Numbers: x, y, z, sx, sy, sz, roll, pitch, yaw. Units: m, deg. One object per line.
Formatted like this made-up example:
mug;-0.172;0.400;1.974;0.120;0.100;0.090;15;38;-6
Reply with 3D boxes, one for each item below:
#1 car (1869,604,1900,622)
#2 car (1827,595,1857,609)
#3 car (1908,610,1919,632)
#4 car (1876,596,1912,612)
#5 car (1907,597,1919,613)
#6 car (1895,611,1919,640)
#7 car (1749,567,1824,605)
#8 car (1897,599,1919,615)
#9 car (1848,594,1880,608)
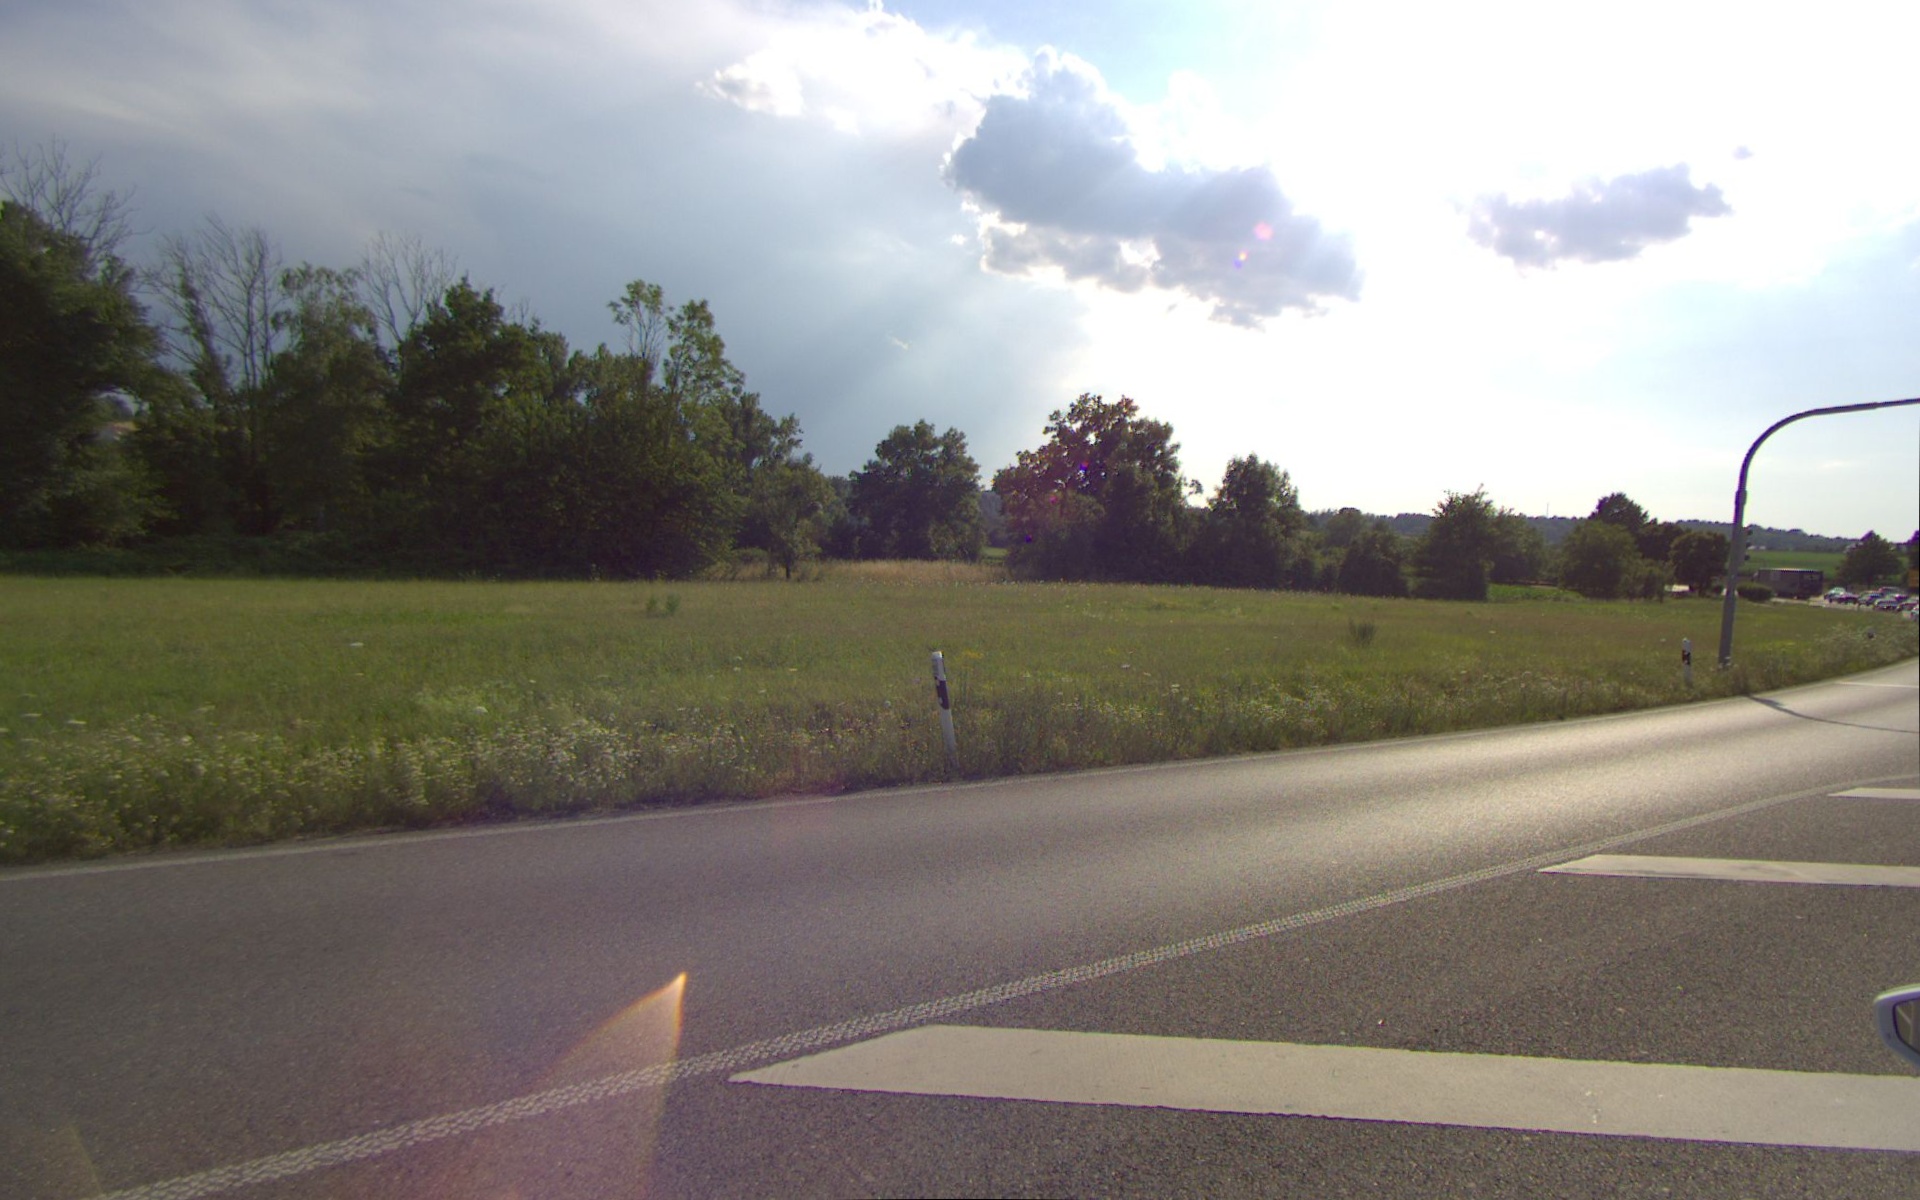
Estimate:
car;87.800;1.243;95.450;1.859;1.621;3.982;3;2;39
car;112.510;0.225;128.186;1.853;1.621;3.994;3;1;28
car;74.276;1.612;77.058;1.859;1.621;3.982;3;2;39
car;105.860;0.442;113.870;1.853;1.621;3.994;3;1;27
car;98.914;0.513;102.948;2.057;1.621;3.987;3;2;35
car;57.228;1.515;59.893;1.859;1.621;3.981;3;2;39
car;119.135;-1.977;145.033;3.482;5.127;13.244;2;1;18
car;103.162;0.786;108.614;1.855;1.621;3.989;3;2;33
car;109.802;0.103;122.056;1.853;1.621;3.995;3;1;26
